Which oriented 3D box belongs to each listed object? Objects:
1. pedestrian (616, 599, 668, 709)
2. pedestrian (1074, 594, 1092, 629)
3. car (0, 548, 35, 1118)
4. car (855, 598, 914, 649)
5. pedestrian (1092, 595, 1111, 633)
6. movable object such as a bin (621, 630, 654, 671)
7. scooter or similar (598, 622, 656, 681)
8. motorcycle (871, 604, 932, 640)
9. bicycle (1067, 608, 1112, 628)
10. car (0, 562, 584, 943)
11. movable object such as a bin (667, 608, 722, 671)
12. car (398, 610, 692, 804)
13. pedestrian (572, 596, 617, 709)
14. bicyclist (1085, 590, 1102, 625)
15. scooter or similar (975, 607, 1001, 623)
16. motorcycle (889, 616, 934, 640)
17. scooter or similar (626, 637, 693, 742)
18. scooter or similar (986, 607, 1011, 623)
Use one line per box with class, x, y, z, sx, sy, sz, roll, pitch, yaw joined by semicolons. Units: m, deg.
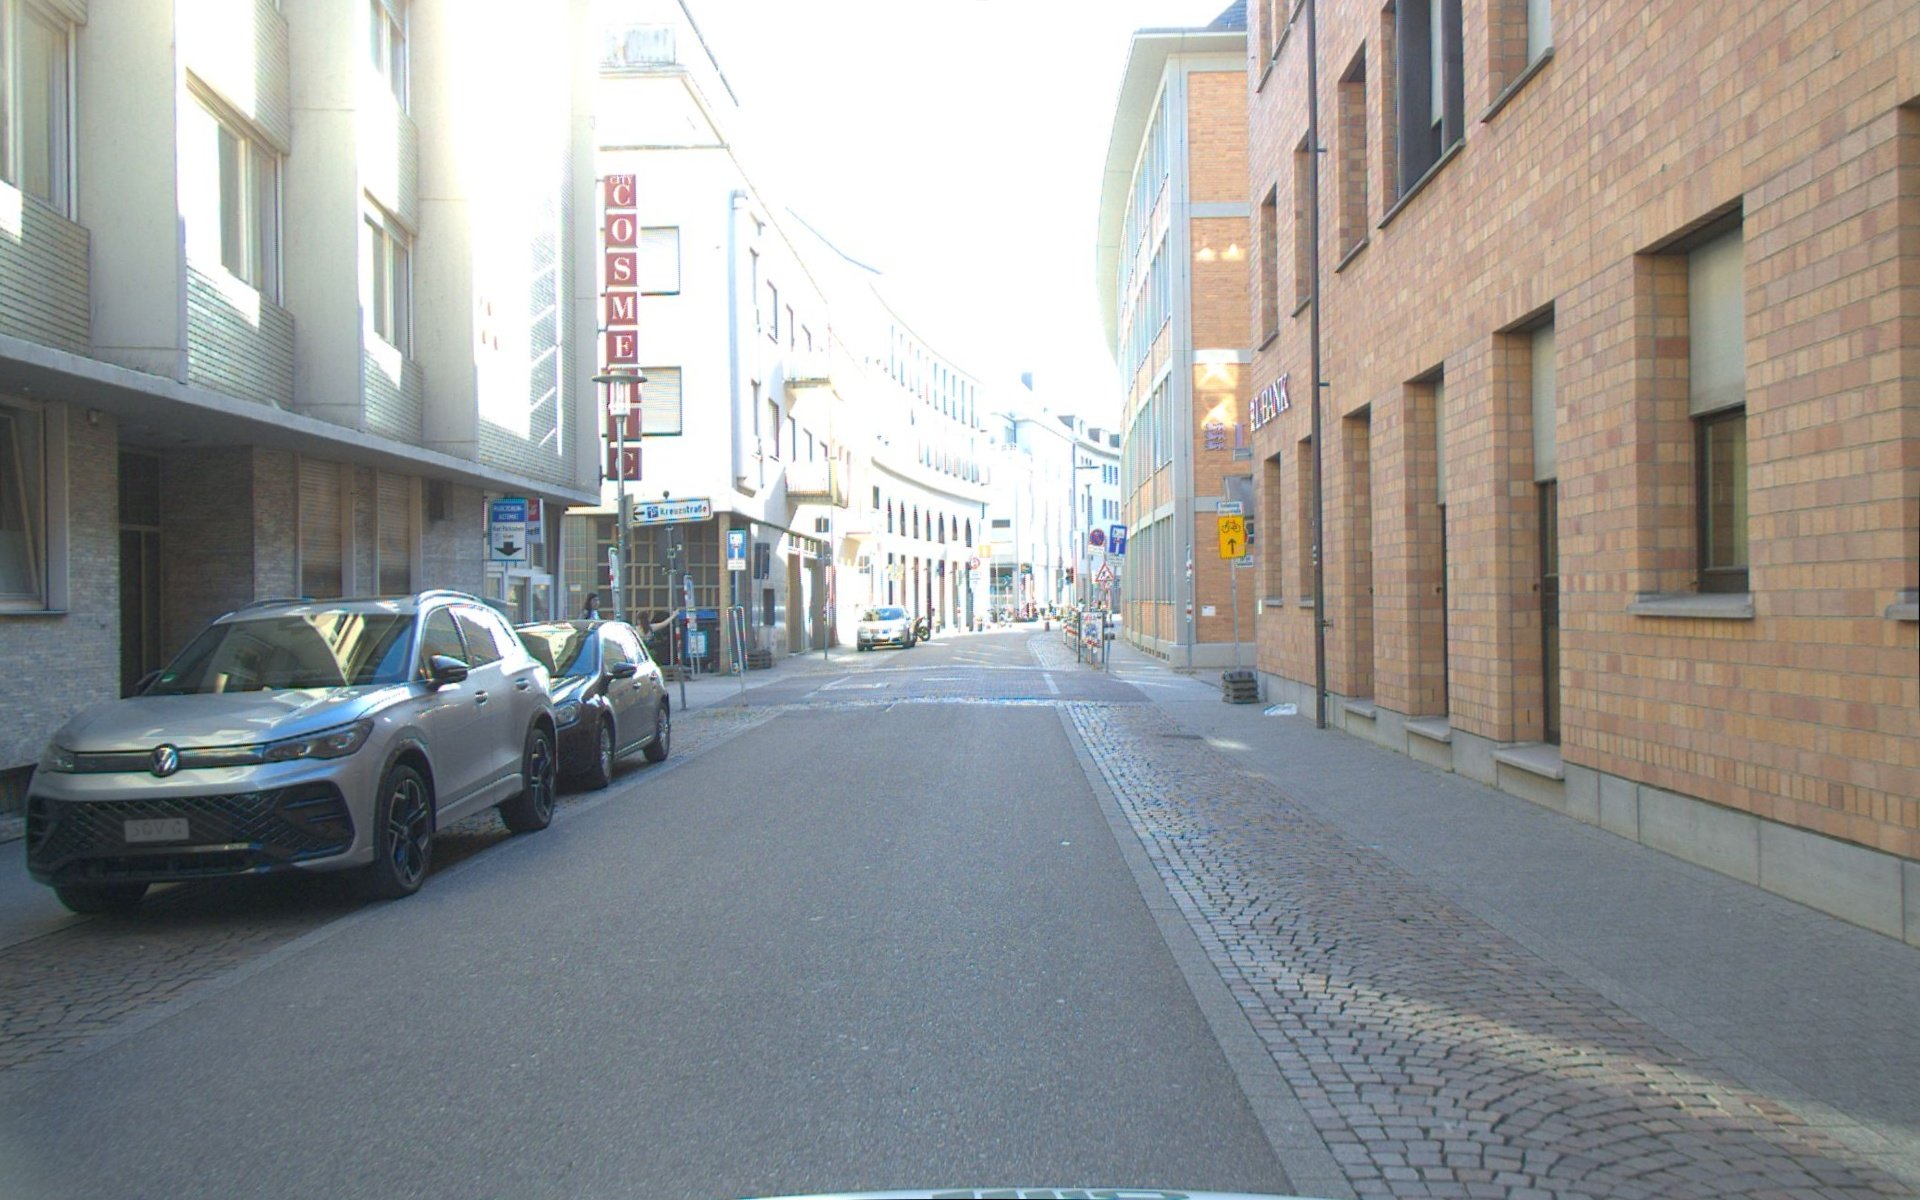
pedestrian;-4.897;0.825;25.470;0.641;1.654;0.450;-1;0;-40
pedestrian;6.611;0.618;89.055;0.652;1.901;0.779;1;-1;-29
car;-3.852;0.734;2.850;1.851;1.705;4.554;-2;0;1
car;-2.502;0.757;55.610;1.700;1.634;3.534;0;0;2
pedestrian;7.150;0.687;83.535;0.652;1.901;0.754;1;-1;-29
movable object such as a bin;-7.413;1.162;37.978;0.517;0.917;0.533;0;-1;44
scooter or similar;-7.313;1.131;36.353;1.133;1.228;0.480;-2;0;1
motorcycle;-2.358;0.890;66.976;2.341;1.340;0.862;-2;0;1
bicycle;9.041;1.257;115.425;3.023;1.378;0.702;1;-1;15
car;-3.783;0.718;10.079;1.851;1.772;4.391;-2;0;1
movable object such as a bin;-6.220;0.927;38.706;0.870;1.444;0.927;0;-1;44
car;-3.768;0.904;15.730;1.614;1.486;4.000;-4;0;1
pedestrian;-5.802;0.827;26.272;0.438;1.769;0.552;-1;0;24
bicyclist;9.303;0.497;115.372;1.067;2.431;0.742;1;-1;14
scooter or similar;1.649;0.877;97.774;0.515;0.944;2.222;0;0;31
motorcycle;-1.840;1.059;63.233;1.655;0.874;0.595;1;-1;6
scooter or similar;-3.705;1.092;20.362;0.408;1.218;1.111;-5;0;-27
scooter or similar;2.354;0.896;101.821;0.515;0.944;2.222;0;0;31
